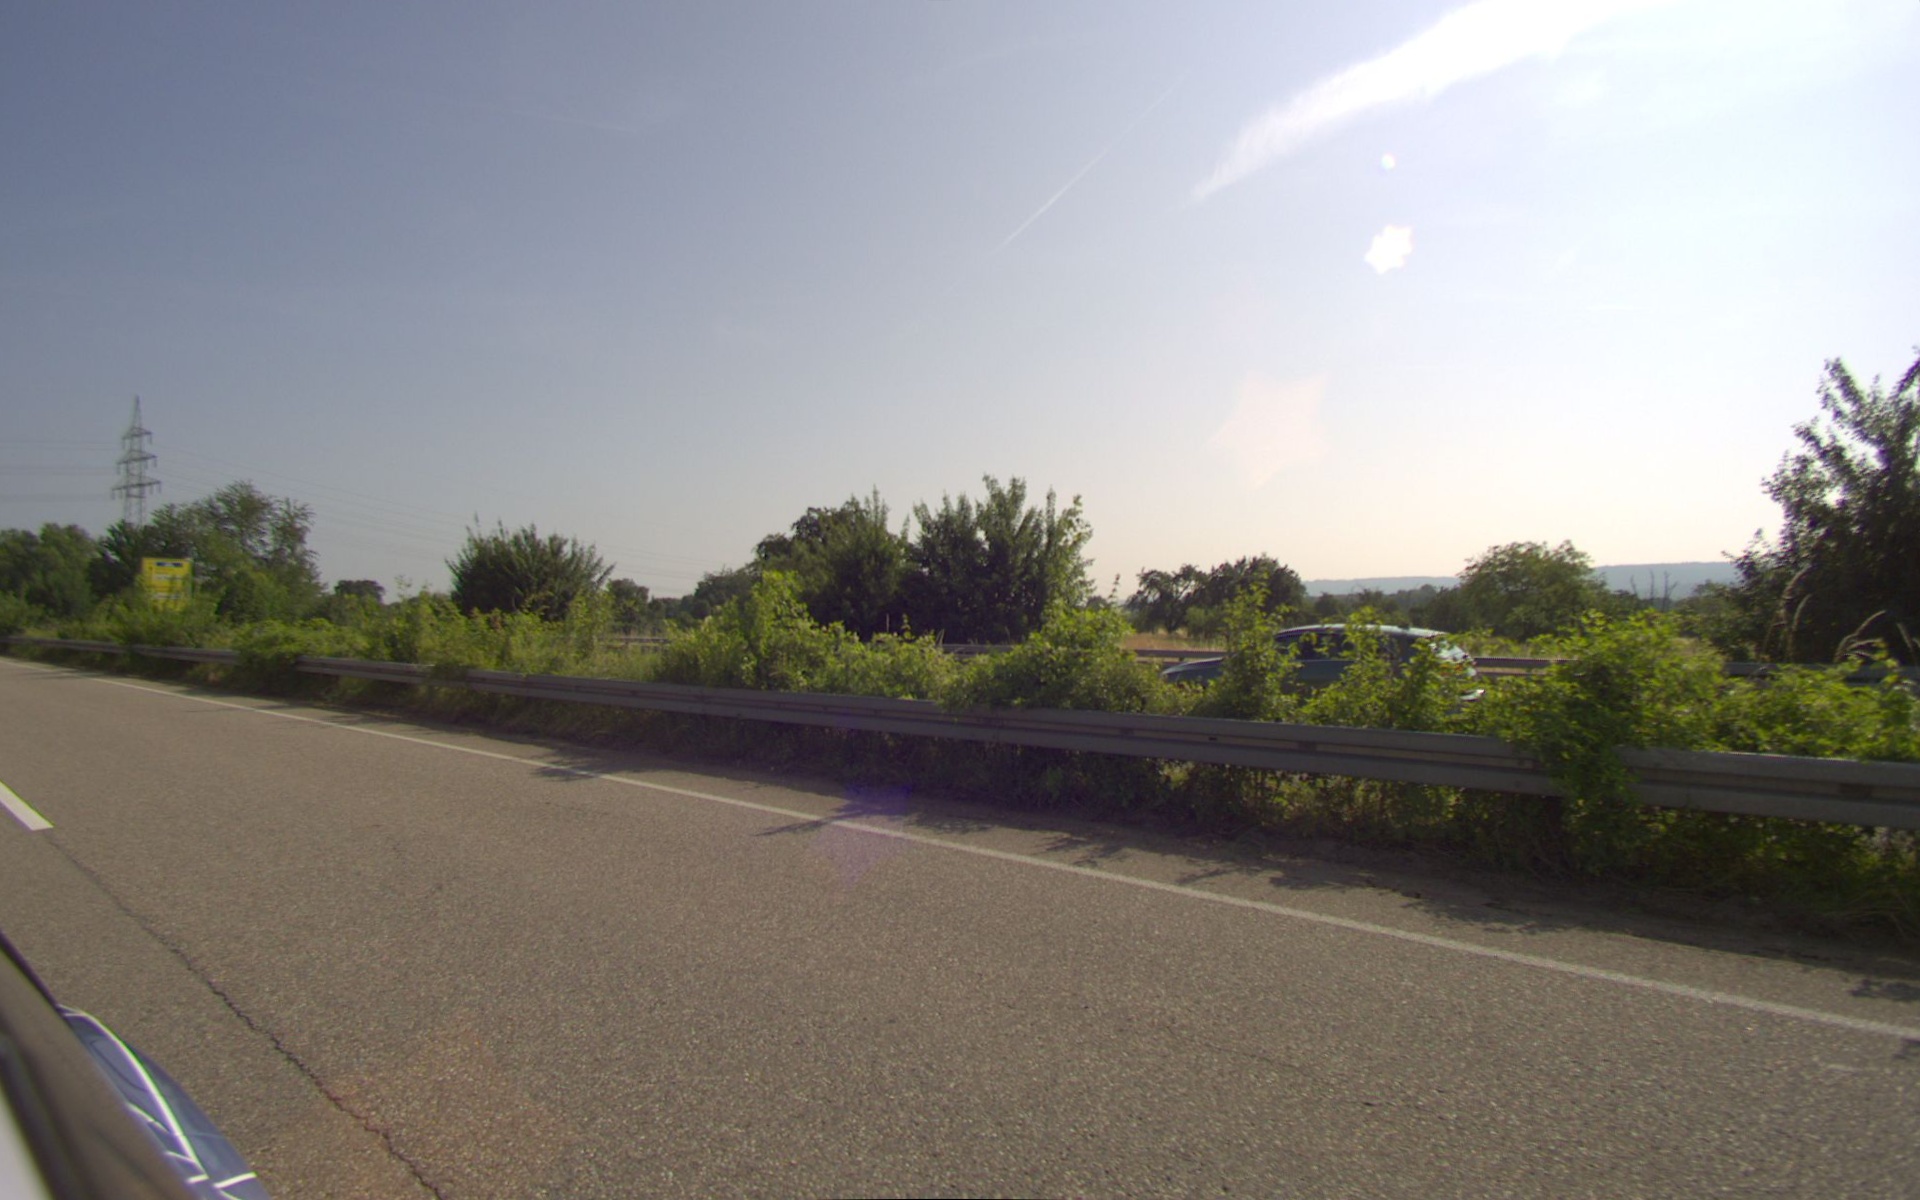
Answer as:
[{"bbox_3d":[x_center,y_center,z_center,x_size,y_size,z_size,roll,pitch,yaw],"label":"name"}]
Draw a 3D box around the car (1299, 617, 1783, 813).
[{"bbox_3d":[6.703,1.139,12.009,4.696,1.838,1.973,-1,-1,41],"label":"car"}]
